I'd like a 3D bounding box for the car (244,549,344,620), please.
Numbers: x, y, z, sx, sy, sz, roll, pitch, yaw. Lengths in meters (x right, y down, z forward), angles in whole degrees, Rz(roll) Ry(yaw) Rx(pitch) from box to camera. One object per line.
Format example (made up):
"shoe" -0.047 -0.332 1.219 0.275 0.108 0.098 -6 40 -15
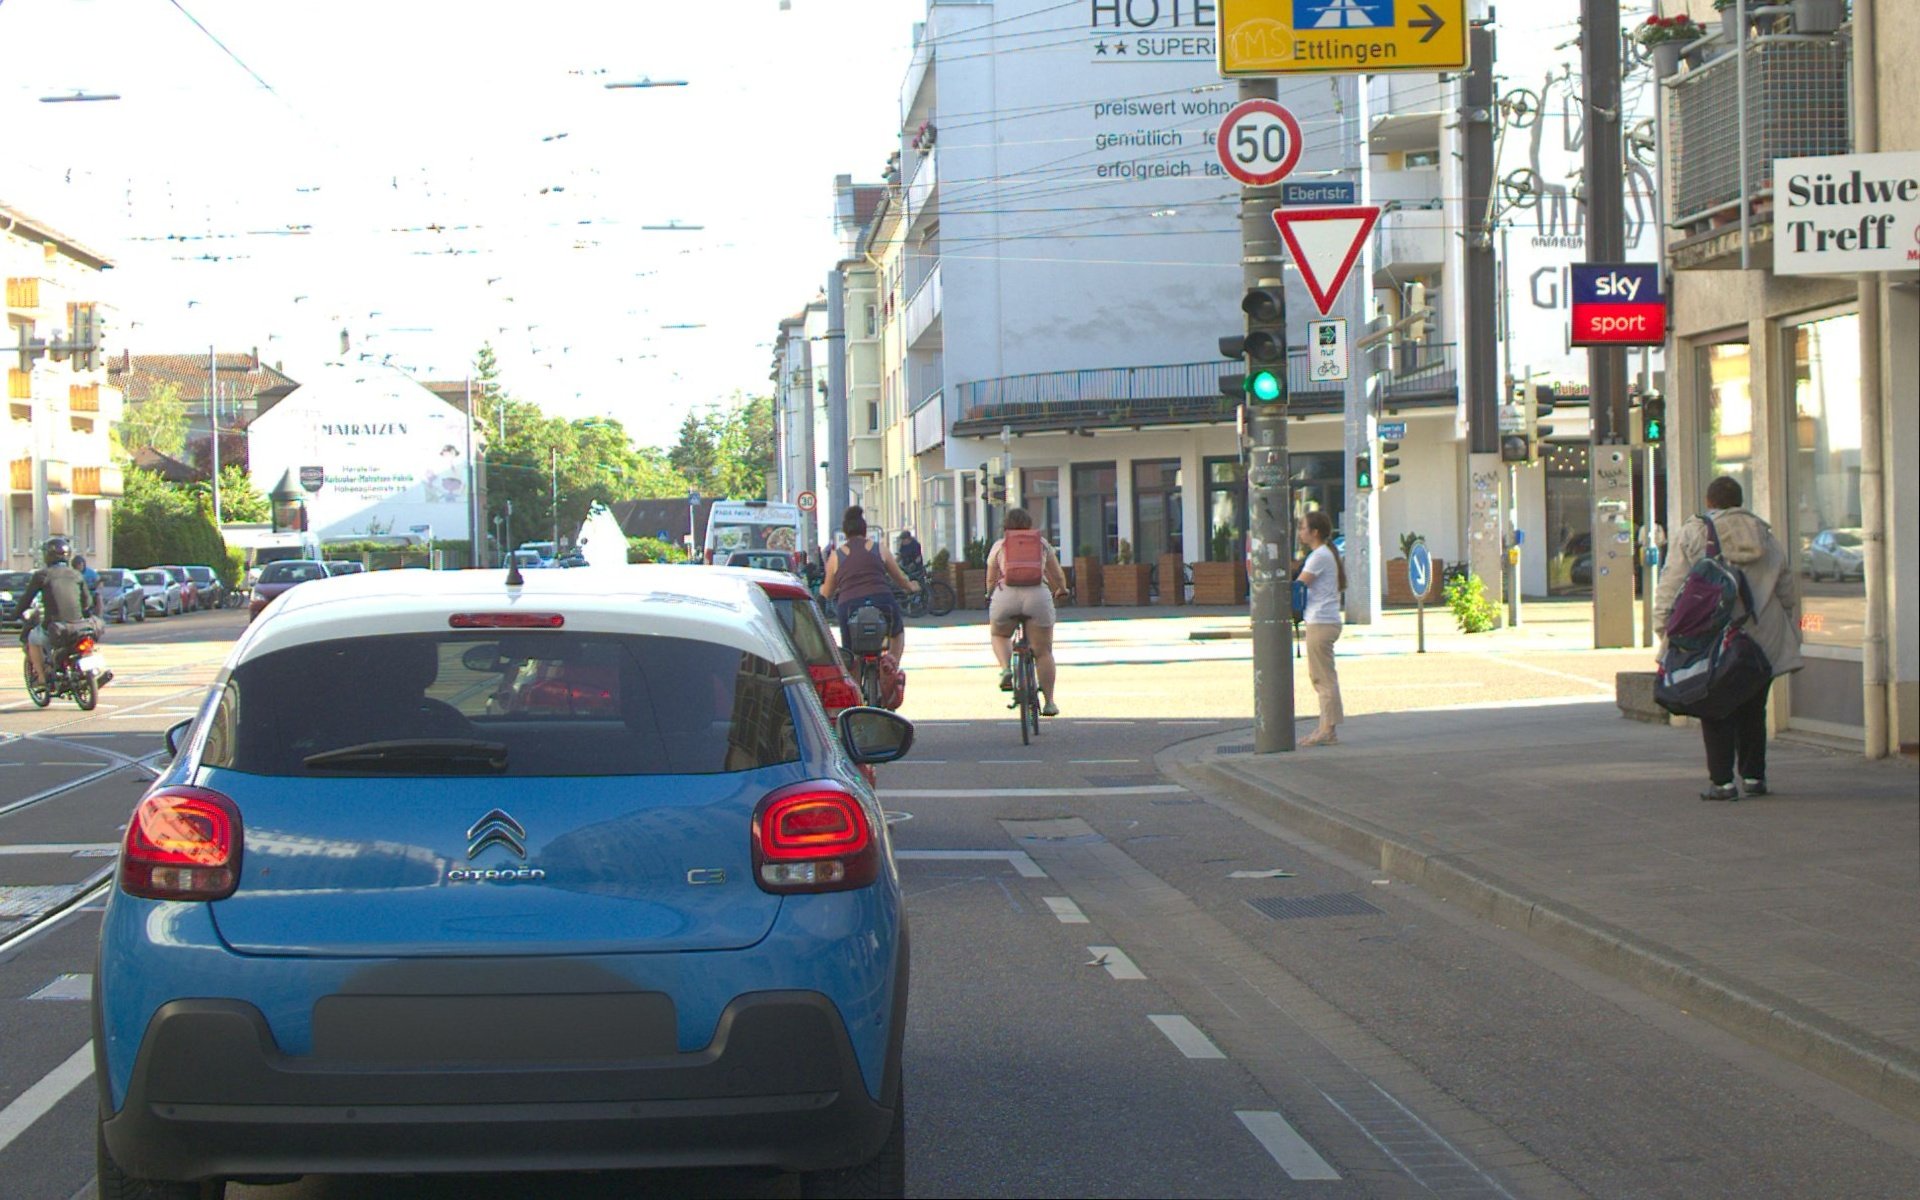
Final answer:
"car" -14.771 -0.357 76.386 1.778 1.481 3.829 -2 1 -5

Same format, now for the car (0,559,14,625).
"car" -23.130 -0.189 79.189 1.741 1.521 4.230 1 1 -4

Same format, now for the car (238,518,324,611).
"car" -23.501 -1.217 119.097 2.417 3.131 3.489 1 0 -3

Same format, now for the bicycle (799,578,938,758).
"bicycle" -0.657 0.461 24.639 0.940 1.219 2.095 1 0 -2

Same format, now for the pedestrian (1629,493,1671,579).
"pedestrian" 13.023 -1.211 64.869 0.610 1.603 0.668 1 0 27

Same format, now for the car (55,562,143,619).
"car" -24.559 -0.279 98.137 1.869 1.571 4.001 1 1 -6

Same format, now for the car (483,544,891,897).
"car" -1.378 0.508 17.130 1.784 1.516 3.763 1 1 -5

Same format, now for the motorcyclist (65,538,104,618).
"motorcyclist" -16.599 -0.411 65.205 0.693 1.491 0.684 -1 -1 -14

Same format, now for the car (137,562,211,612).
"car" -25.790 -0.432 112.901 1.869 1.571 4.001 1 1 -6

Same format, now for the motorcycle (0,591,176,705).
"motorcycle" -8.599 0.449 33.163 1.939 1.043 0.856 1 0 30

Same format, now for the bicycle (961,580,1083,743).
"bicycle" 0.491 0.446 26.282 0.811 1.177 2.064 1 0 4

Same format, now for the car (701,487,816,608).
"car" -4.311 -1.096 72.813 2.265 2.473 5.009 0 1 -5

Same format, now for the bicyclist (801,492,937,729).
"bicyclist" -0.661 0.068 24.870 0.940 1.667 1.079 1 0 -2

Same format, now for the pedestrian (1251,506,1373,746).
"pedestrian" 2.470 0.178 24.094 0.540 1.618 0.732 -5 -1 21

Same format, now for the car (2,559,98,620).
"car" -24.348 -0.300 92.076 1.869 1.571 4.001 1 1 -6

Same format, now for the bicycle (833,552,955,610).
"bicycle" -1.273 -0.364 65.799 2.251 0.998 0.856 -3 1 -5

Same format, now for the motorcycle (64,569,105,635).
"motorcycle" -16.605 0.047 65.237 0.711 1.216 1.966 -1 -1 -14

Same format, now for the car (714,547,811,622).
"car" -3.920 -0.320 67.772 1.657 1.426 3.889 1 1 -7

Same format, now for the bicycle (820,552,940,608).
"bicycle" -1.563 -0.390 67.166 2.251 0.998 0.856 -3 1 -5

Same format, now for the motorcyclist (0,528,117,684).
"motorcyclist" -8.736 0.055 33.244 0.728 1.483 0.856 1 0 30

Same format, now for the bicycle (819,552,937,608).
"bicycle" -1.642 -0.401 68.288 2.251 0.998 0.856 -3 1 -5

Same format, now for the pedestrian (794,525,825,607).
"pedestrian" -3.045 -0.687 69.611 0.613 1.648 0.671 1 0 -2

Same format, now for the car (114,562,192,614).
"car" -25.372 -0.383 108.218 1.869 1.571 4.001 1 1 -6

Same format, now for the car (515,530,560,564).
"car" -23.015 -2.883 187.341 2.074 1.756 5.037 1 1 -4

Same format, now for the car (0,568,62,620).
"car" -23.844 -0.166 86.048 1.946 1.235 4.283 1 1 -5

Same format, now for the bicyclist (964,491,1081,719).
"bicyclist" 0.479 0.033 26.021 0.811 1.686 0.935 1 0 4

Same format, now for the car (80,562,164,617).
"car" -24.991 -0.327 102.615 1.869 1.571 4.001 1 1 -6

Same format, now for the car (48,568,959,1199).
"car" -1.186 0.652 8.423 1.736 1.447 3.663 0 1 -10

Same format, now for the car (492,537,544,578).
"car" -21.837 -2.098 169.958 2.218 1.925 4.950 1 0 -4

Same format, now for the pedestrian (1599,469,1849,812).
"pedestrian" 3.736 0.181 16.864 0.884 1.586 0.811 -4 2 -8

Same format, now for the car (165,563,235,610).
"car" -26.142 -0.488 118.361 1.869 1.571 4.001 1 1 -6

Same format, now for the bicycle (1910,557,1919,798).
"bicycle" 4.903 0.374 15.749 0.496 1.157 1.777 -1 0 -3
